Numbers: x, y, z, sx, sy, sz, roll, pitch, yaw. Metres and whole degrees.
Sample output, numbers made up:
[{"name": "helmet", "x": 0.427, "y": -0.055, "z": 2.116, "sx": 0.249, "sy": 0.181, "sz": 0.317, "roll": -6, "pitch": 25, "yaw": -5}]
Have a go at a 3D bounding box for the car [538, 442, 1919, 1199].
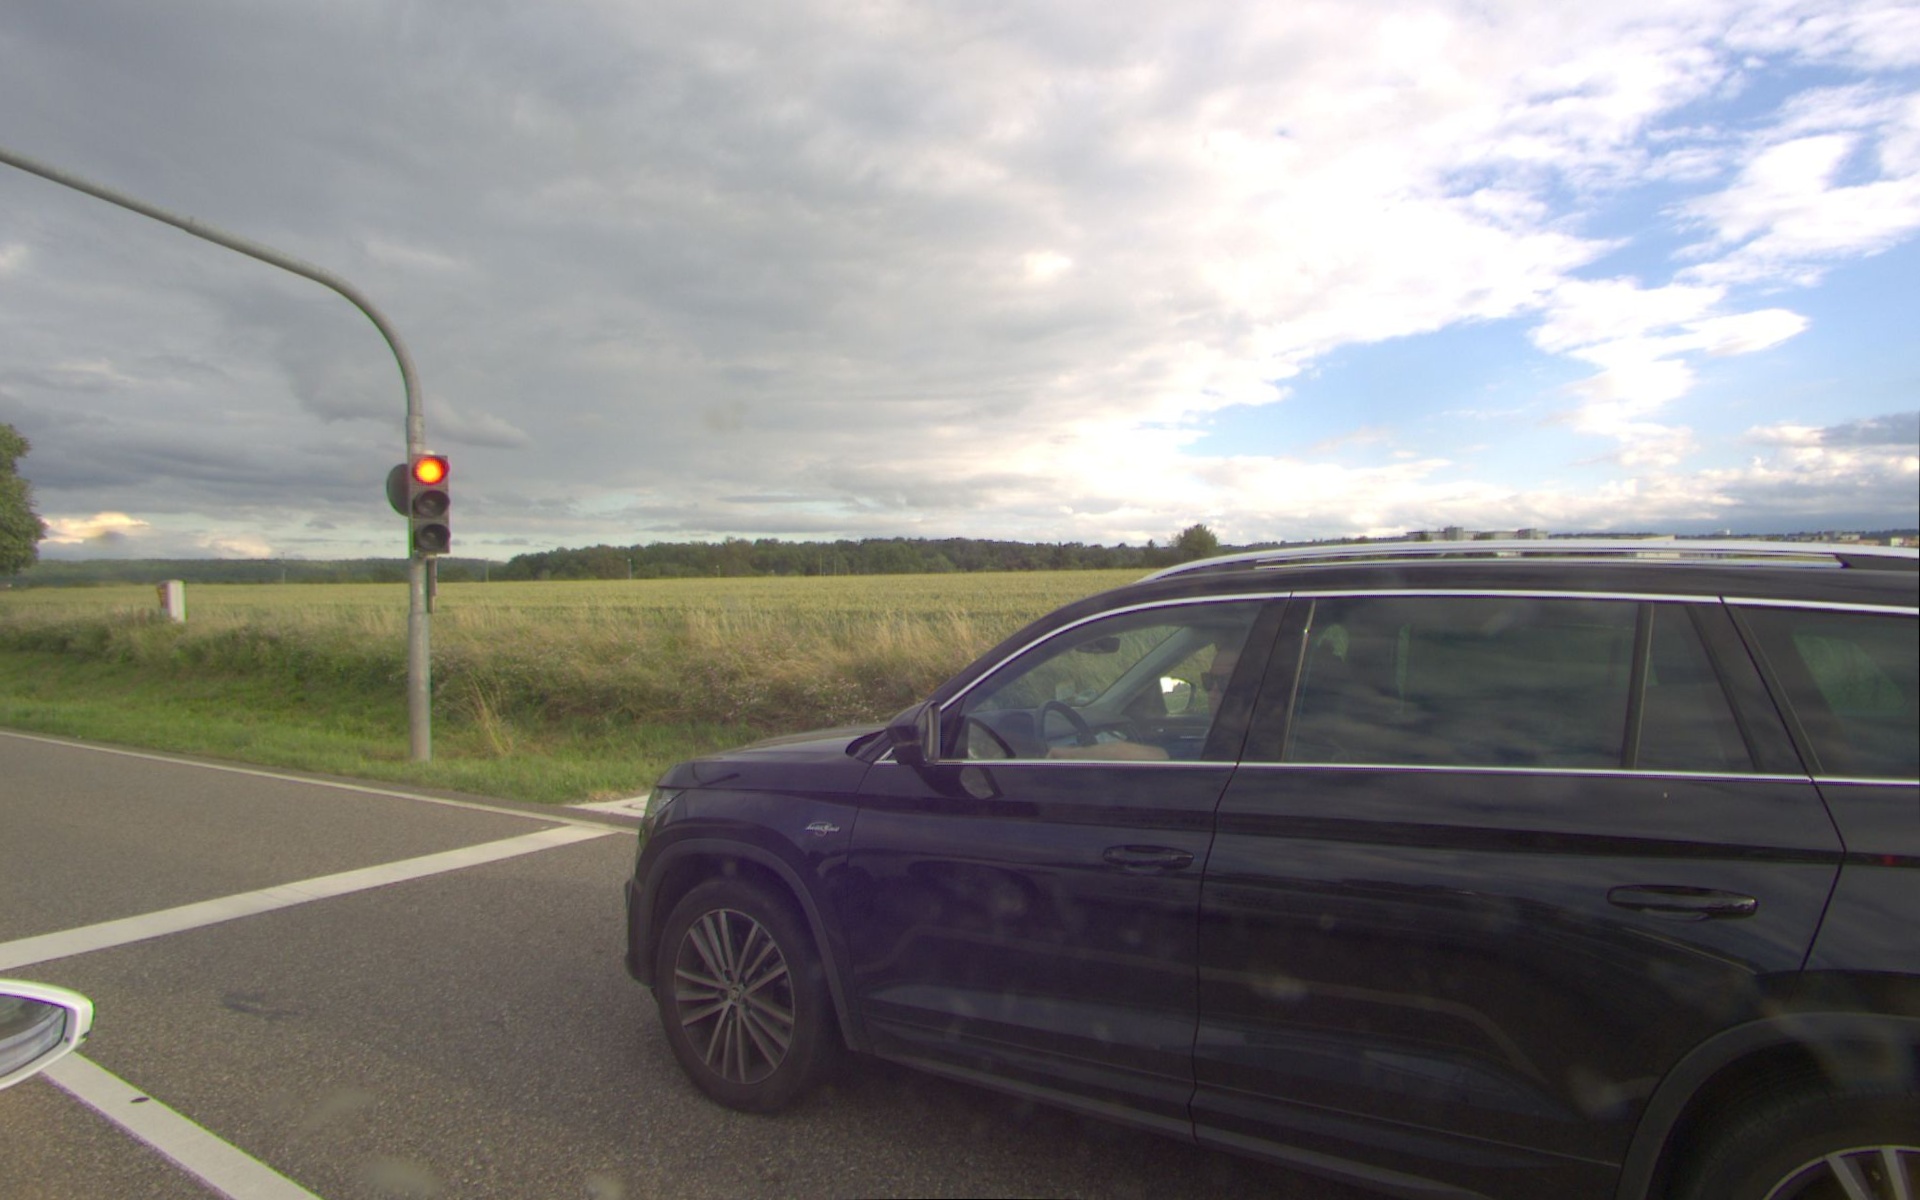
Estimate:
[{"name": "car", "x": 0.899, "y": 0.672, "z": 3.080, "sx": 4.492, "sy": 1.730, "sz": 1.833, "roll": -1, "pitch": -2, "yaw": 32}]
